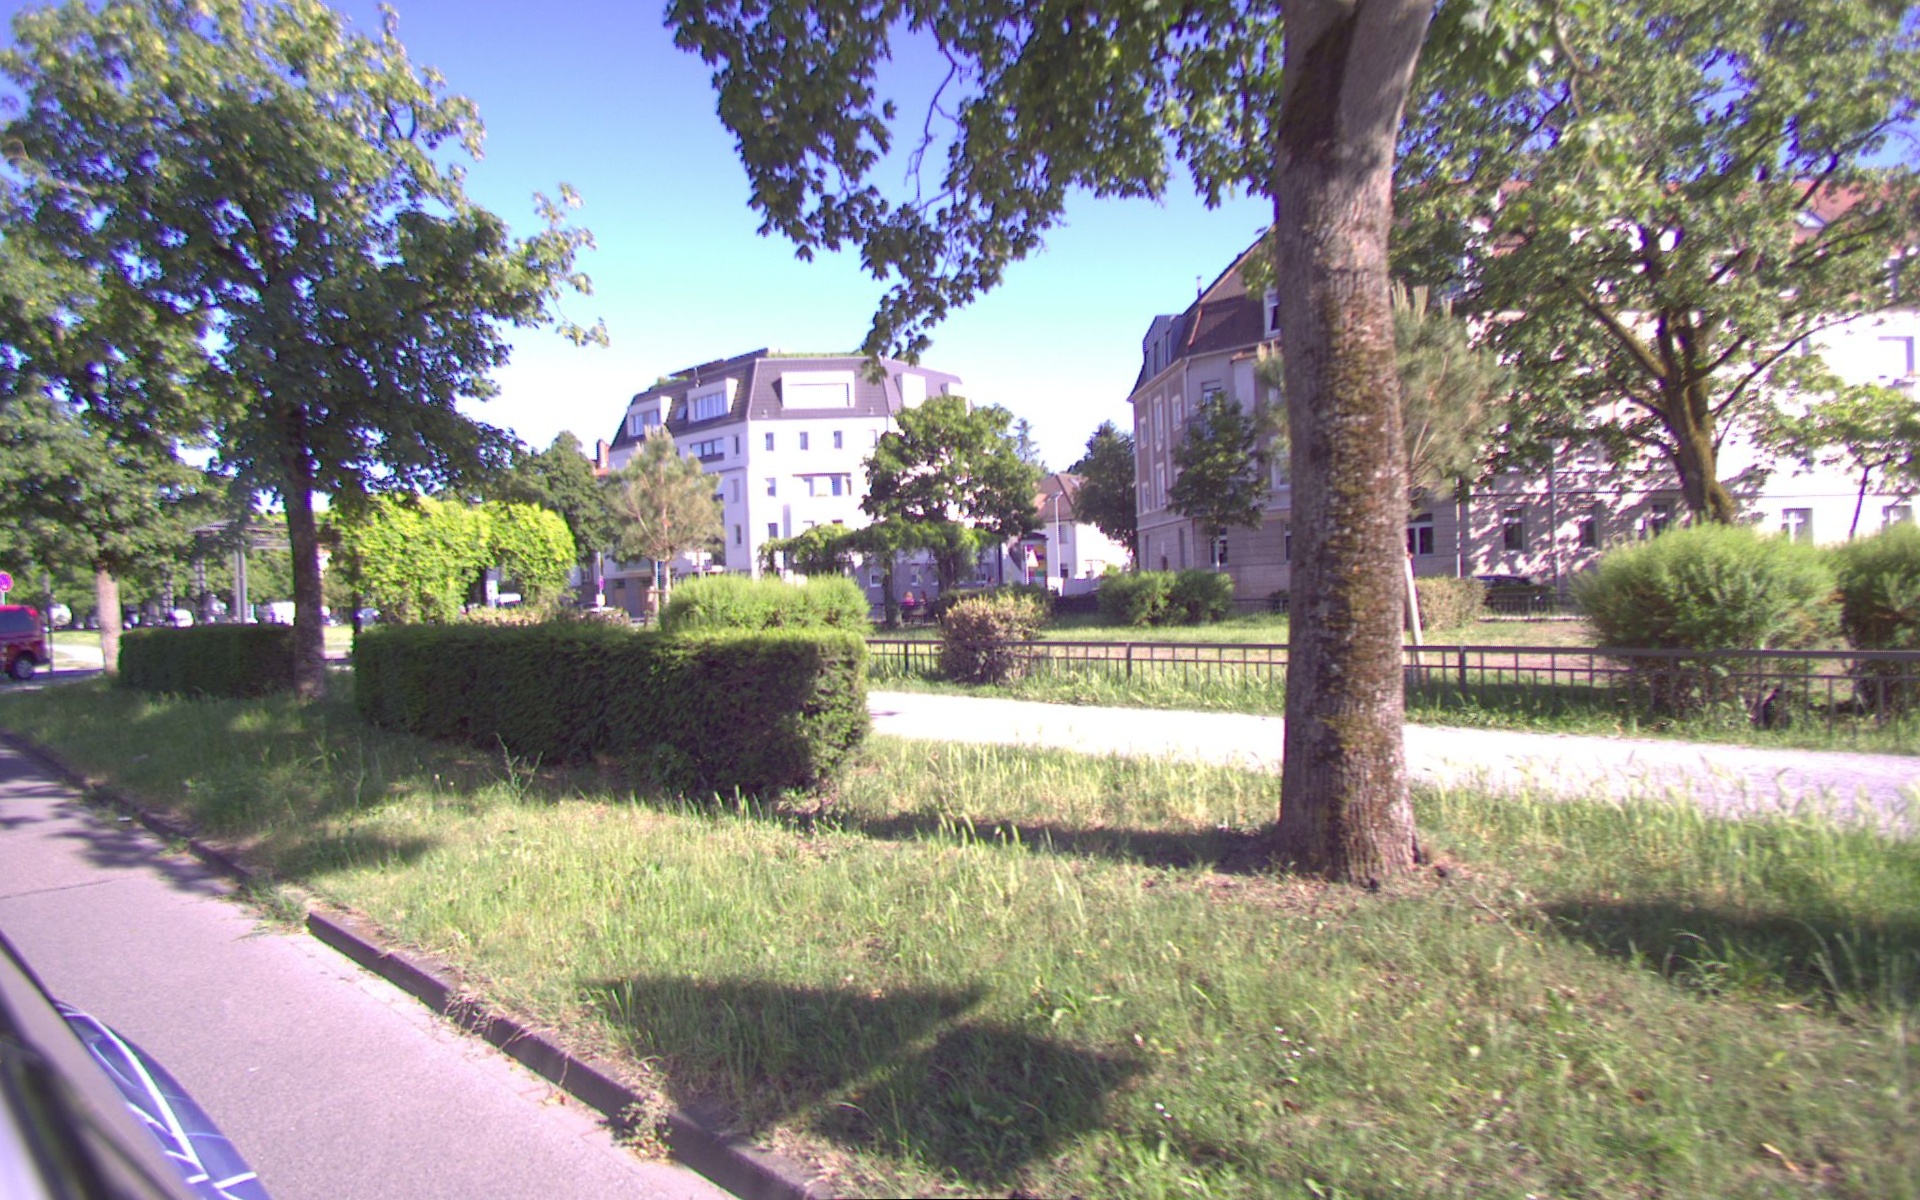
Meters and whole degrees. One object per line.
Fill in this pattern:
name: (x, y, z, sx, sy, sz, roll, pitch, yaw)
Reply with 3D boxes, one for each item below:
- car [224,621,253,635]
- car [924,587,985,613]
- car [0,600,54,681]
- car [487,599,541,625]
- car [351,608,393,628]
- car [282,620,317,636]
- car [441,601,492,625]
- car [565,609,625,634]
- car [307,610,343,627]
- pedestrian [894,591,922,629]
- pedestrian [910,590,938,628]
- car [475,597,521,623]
car: (-81.502, 3.197, 114.299, 3.997, 1.522, 1.776, -1, 0, 41)
car: (-0.325, -0.040, 66.472, 1.799, 1.521, 3.945, -2, 1, 41)
car: (-25.238, 1.056, 24.673, 2.063, 2.027, 4.846, -2, 0, -2)
car: (-30.794, 0.857, 69.804, 4.129, 1.706, 1.776, -2, 0, 41)
car: (-50.973, 1.545, 87.703, 4.403, 1.625, 1.776, -1, 0, 41)
car: (-65.255, 2.743, 99.951, 3.997, 1.522, 1.776, -1, 0, 41)
car: (-36.842, 1.013, 75.528, 4.406, 1.706, 2.029, -2, 0, 43)
car: (-22.916, 1.341, 63.426, 3.997, 1.522, 1.776, -1, 0, 41)
car: (-59.394, 1.762, 94.649, 3.997, 1.522, 1.776, -1, 0, 41)
pedestrian: (-1.755, 0.339, 34.033, 0.640, 1.247, 0.651, -3, 1, -43)
pedestrian: (-1.220, 0.302, 34.539, 0.640, 1.247, 0.651, -3, 1, -43)
car: (-38.423, 0.849, 84.141, 4.405, 2.044, 1.915, -2, 0, 43)
